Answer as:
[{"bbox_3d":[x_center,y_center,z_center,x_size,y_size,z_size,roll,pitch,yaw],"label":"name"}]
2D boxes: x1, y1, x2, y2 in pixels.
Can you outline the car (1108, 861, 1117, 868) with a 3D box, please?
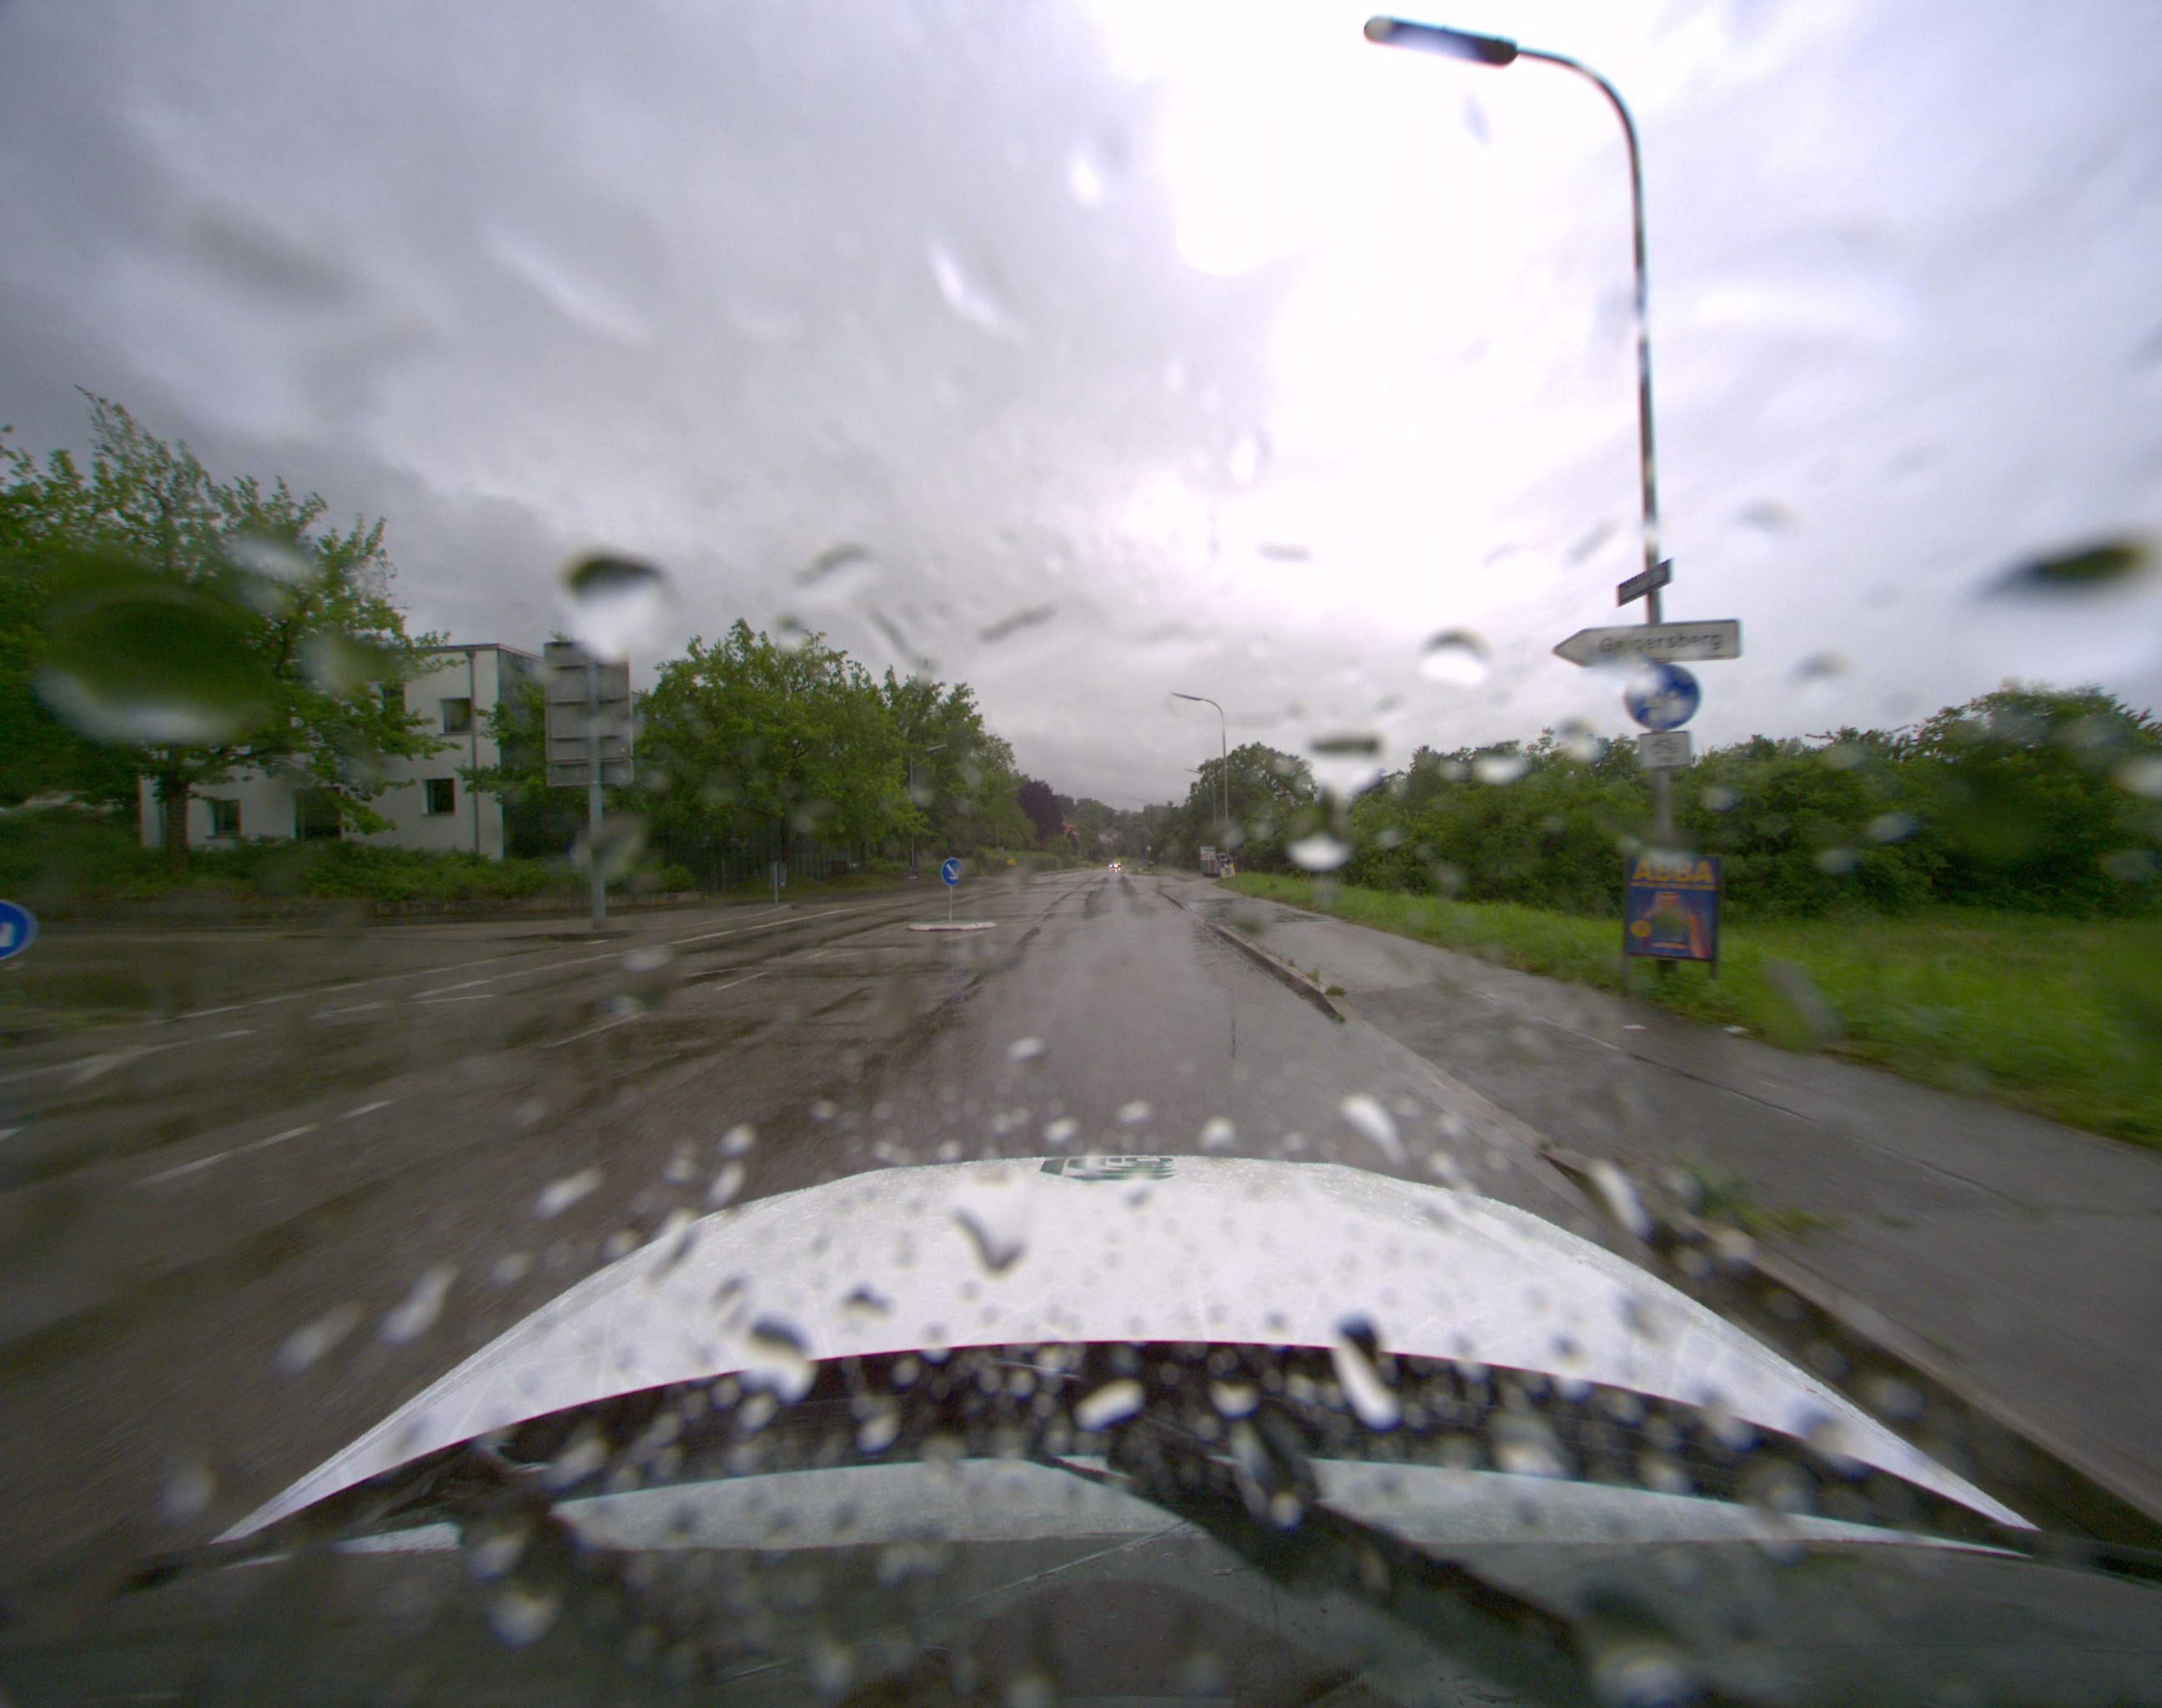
[{"bbox_3d":[6.670,2.163,170.257,1.694,1.349,3.909,-1,-1,4],"label":"car"}]
